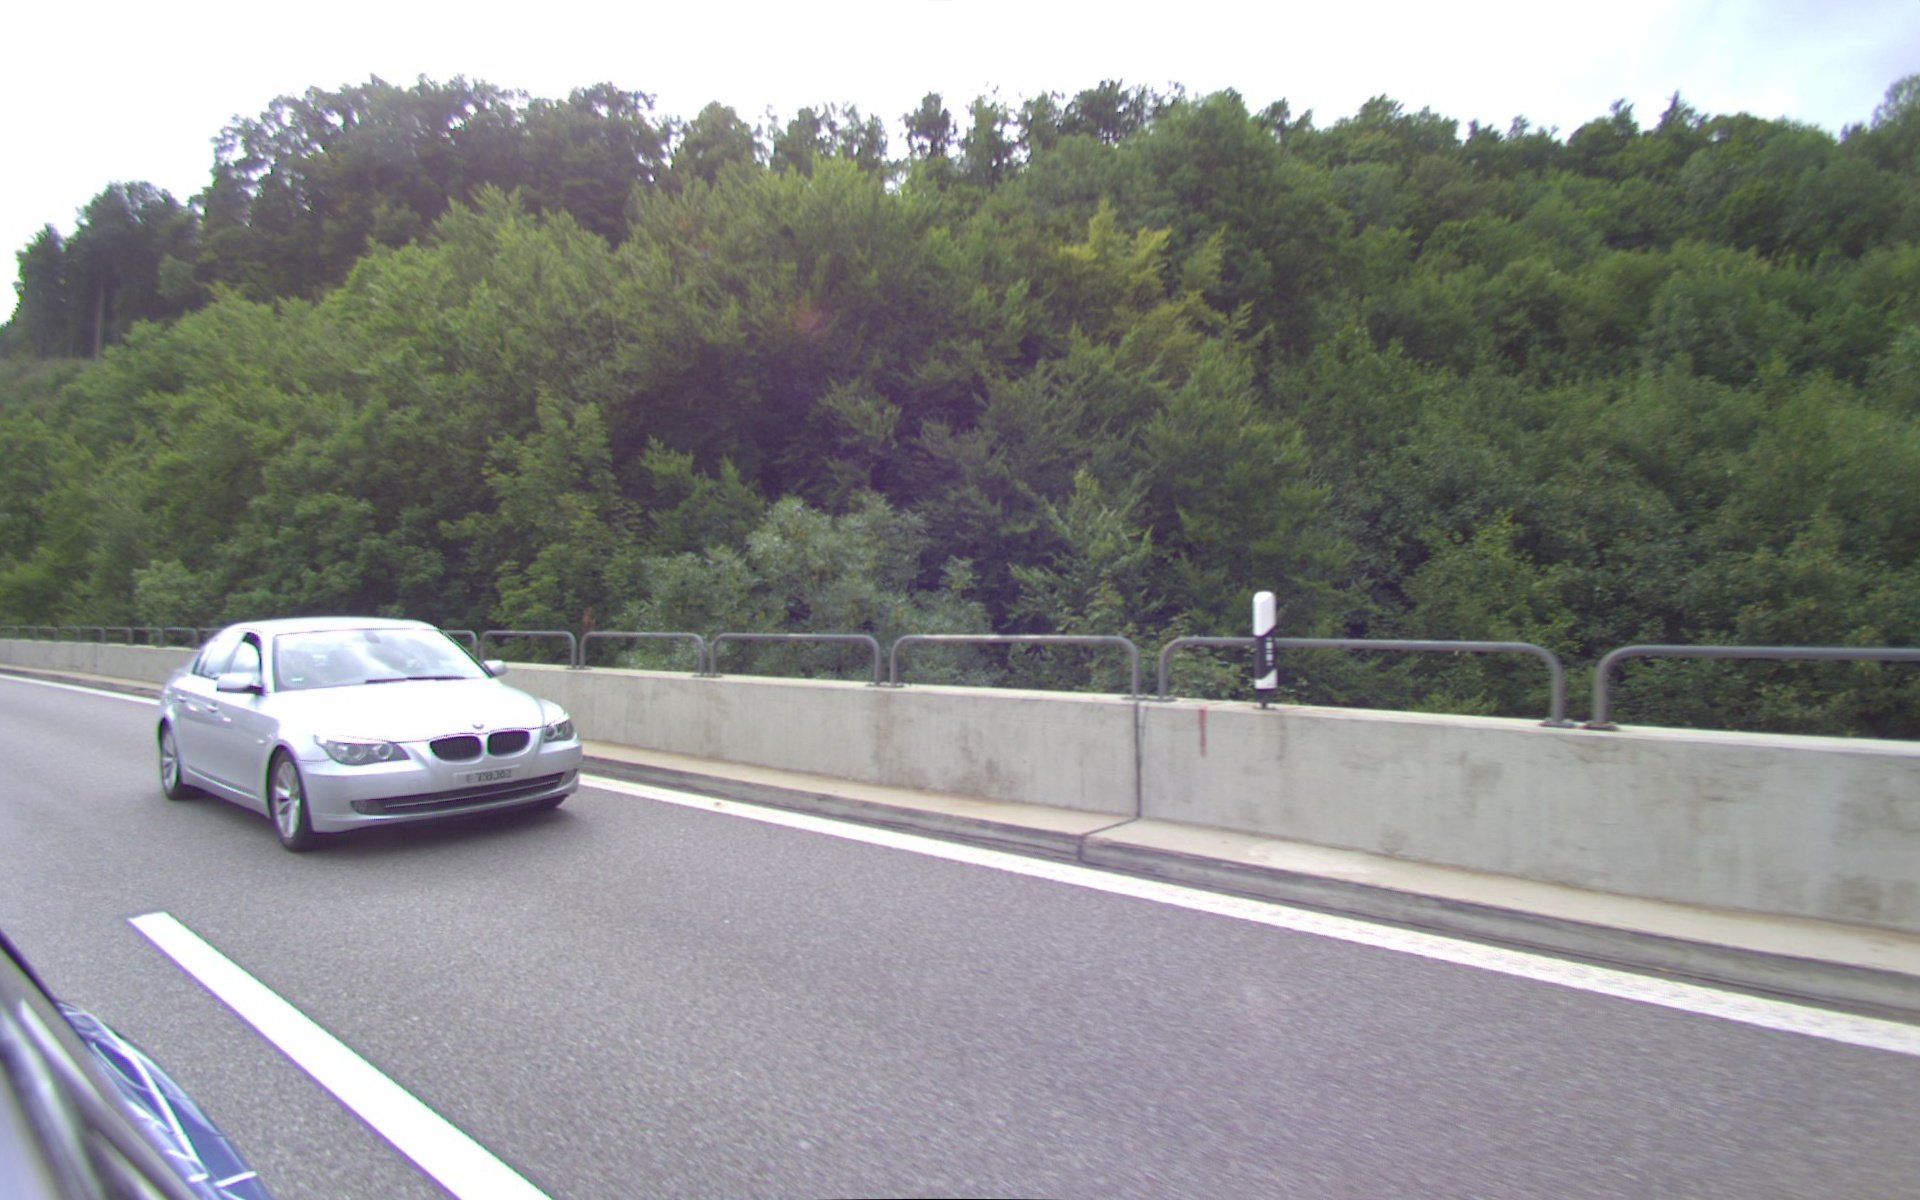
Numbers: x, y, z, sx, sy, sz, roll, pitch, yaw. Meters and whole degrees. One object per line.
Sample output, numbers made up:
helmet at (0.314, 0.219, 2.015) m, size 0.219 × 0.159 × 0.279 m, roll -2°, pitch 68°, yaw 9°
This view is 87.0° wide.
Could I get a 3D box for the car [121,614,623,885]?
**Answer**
car at (-4.851, 0.871, 7.937) m, size 5.131 × 1.468 × 1.809 m, roll -1°, pitch -1°, yaw 40°
